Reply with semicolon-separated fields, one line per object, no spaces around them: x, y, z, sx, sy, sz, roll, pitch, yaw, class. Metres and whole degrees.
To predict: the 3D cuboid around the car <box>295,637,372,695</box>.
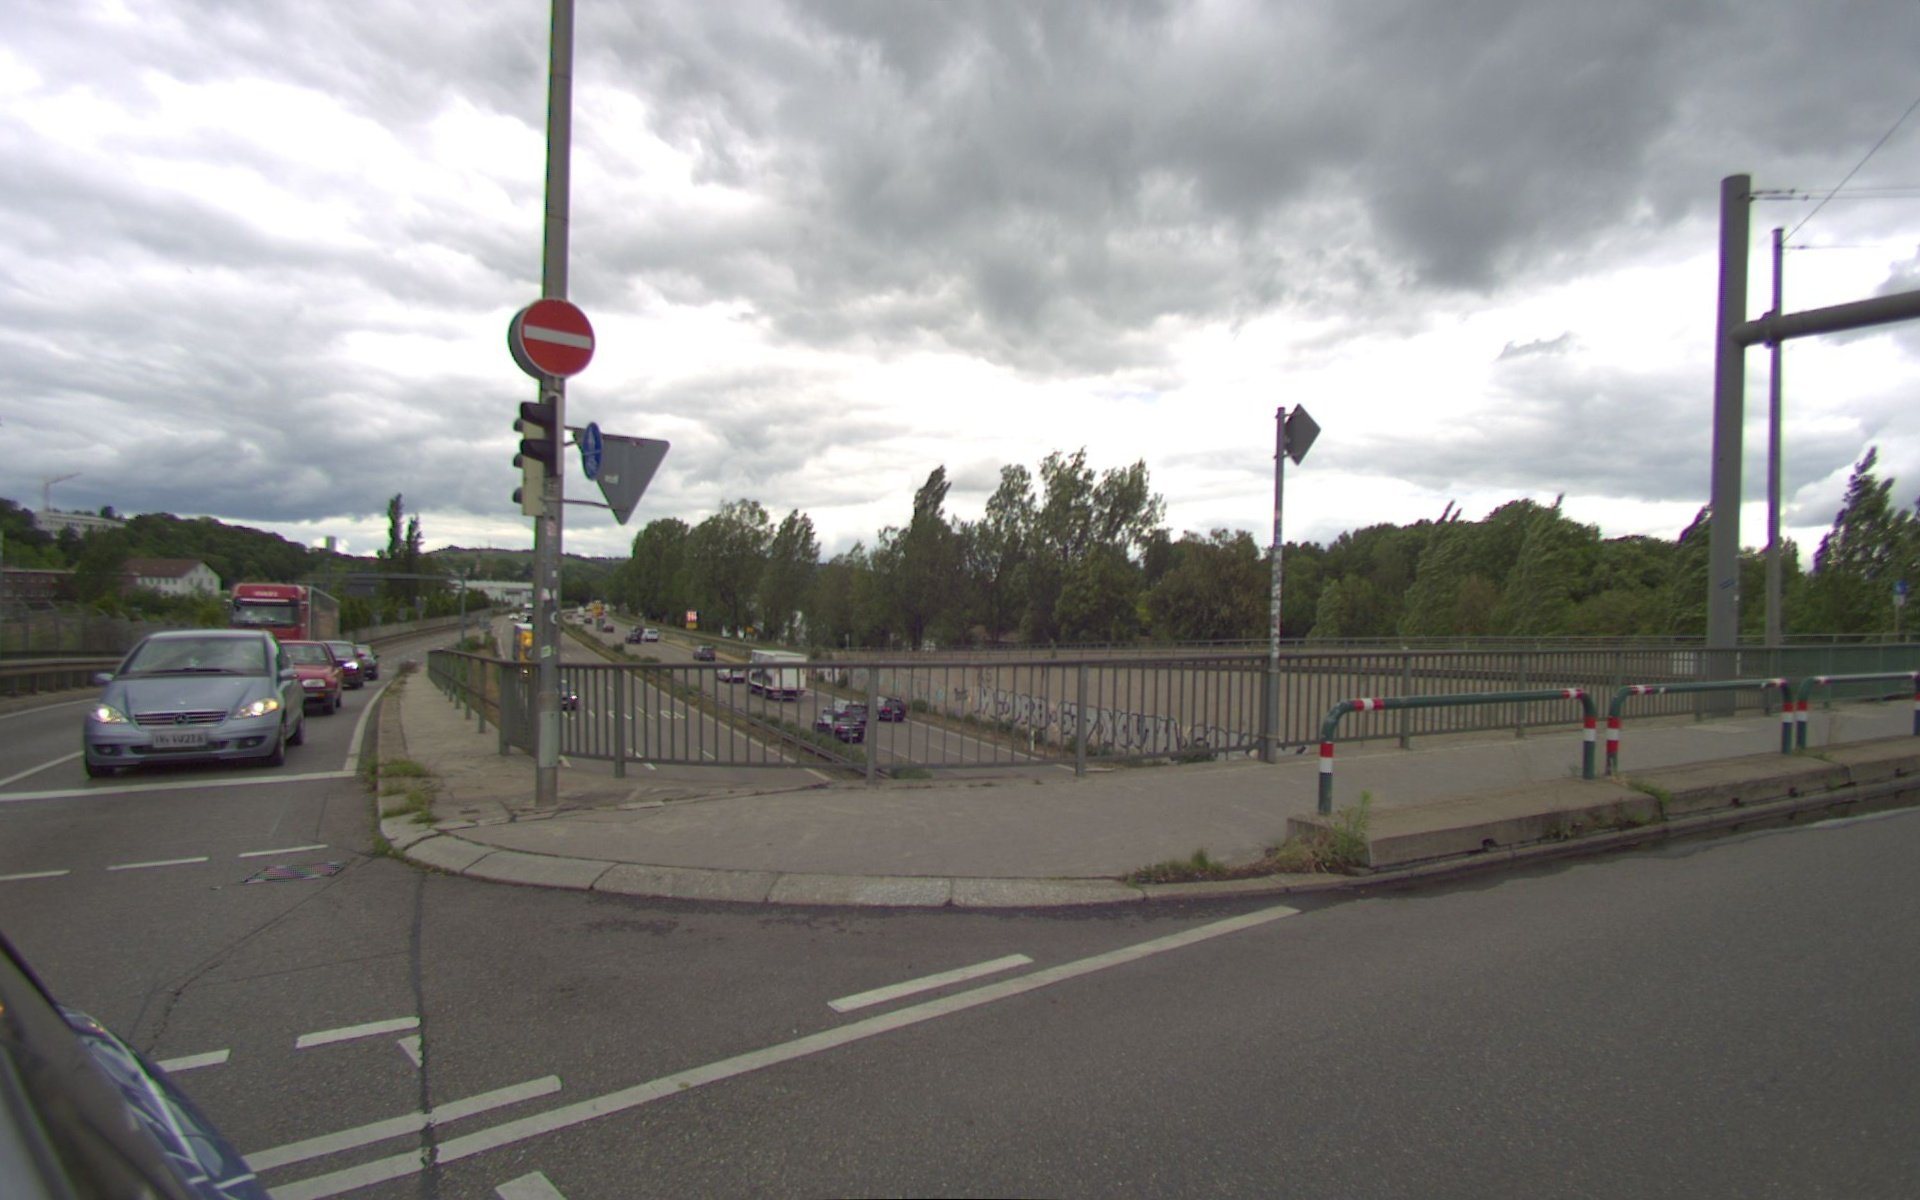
-19.441;1.990;31.550;1.668;1.431;4.482;1;0;-27;car

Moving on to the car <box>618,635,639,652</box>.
-46.996;6.160;143.520;2.187;2.028;4.657;3;1;-25;car

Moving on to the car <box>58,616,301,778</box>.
-9.135;1.035;12.169;1.718;1.616;3.694;1;-2;-28;car

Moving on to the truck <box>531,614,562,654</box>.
-50.293;4.012;122.803;2.840;4.389;13.302;2;-1;-24;truck

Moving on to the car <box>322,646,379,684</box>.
-25.003;2.627;41.630;1.668;1.431;4.482;1;-2;-27;car

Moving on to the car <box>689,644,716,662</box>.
-29.230;5.986;114.780;1.965;1.630;4.343;3;0;-29;car

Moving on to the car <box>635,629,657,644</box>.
-47.233;5.417;152.092;2.553;2.029;4.657;3;-1;-25;car

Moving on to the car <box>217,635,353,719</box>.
-13.166;1.429;19.959;1.718;1.474;3.967;0;-2;-26;car

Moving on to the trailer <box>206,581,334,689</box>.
-32.341;1.693;48.104;3.608;4.354;13.824;1;-2;-28;trailer

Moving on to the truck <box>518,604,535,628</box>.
-96.991;3.444;226.236;3.320;4.991;13.984;1;0;-24;truck

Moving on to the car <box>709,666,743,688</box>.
-20.491;6.726;88.621;1.965;1.630;4.343;3;-2;-25;car

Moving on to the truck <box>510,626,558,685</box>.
-35.157;4.429;83.303;2.852;4.215;10.058;4;-2;-26;truck

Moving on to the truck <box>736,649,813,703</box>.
-14.201;5.706;76.906;3.533;3.482;8.268;4;-2;-26;truck

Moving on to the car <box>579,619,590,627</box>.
-85.956;5.337;231.809;1.965;1.730;3.651;3;-3;-24;car

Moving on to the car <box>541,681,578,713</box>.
-25.306;6.111;63.884;1.848;1.710;3.853;3;-2;-25;car

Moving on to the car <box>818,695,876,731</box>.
-7.045;6.982;62.959;2.102;1.730;4.440;3;-1;-27;car

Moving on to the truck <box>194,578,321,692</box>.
-29.477;1.493;42.835;3.608;4.354;7.258;1;-2;-29;truck

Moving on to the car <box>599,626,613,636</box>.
-63.383;5.544;181.046;1.965;1.730;3.651;3;-3;-24;car

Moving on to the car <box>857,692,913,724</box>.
-4.976;7.067;66.423;2.102;1.577;4.440;3;-1;-27;car

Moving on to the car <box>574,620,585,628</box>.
-80.410;5.054;213.796;1.965;1.730;3.651;3;-3;-24;car

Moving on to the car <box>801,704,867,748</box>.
-7.006;6.887;55.865;2.297;1.730;4.748;-1;1;-24;car

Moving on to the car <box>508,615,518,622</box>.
-106.034;4.382;240.125;1.965;1.730;3.651;3;-3;-23;car

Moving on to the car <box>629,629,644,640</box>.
-54.078;5.727;169.056;1.965;1.782;3.494;3;-3;-24;car
